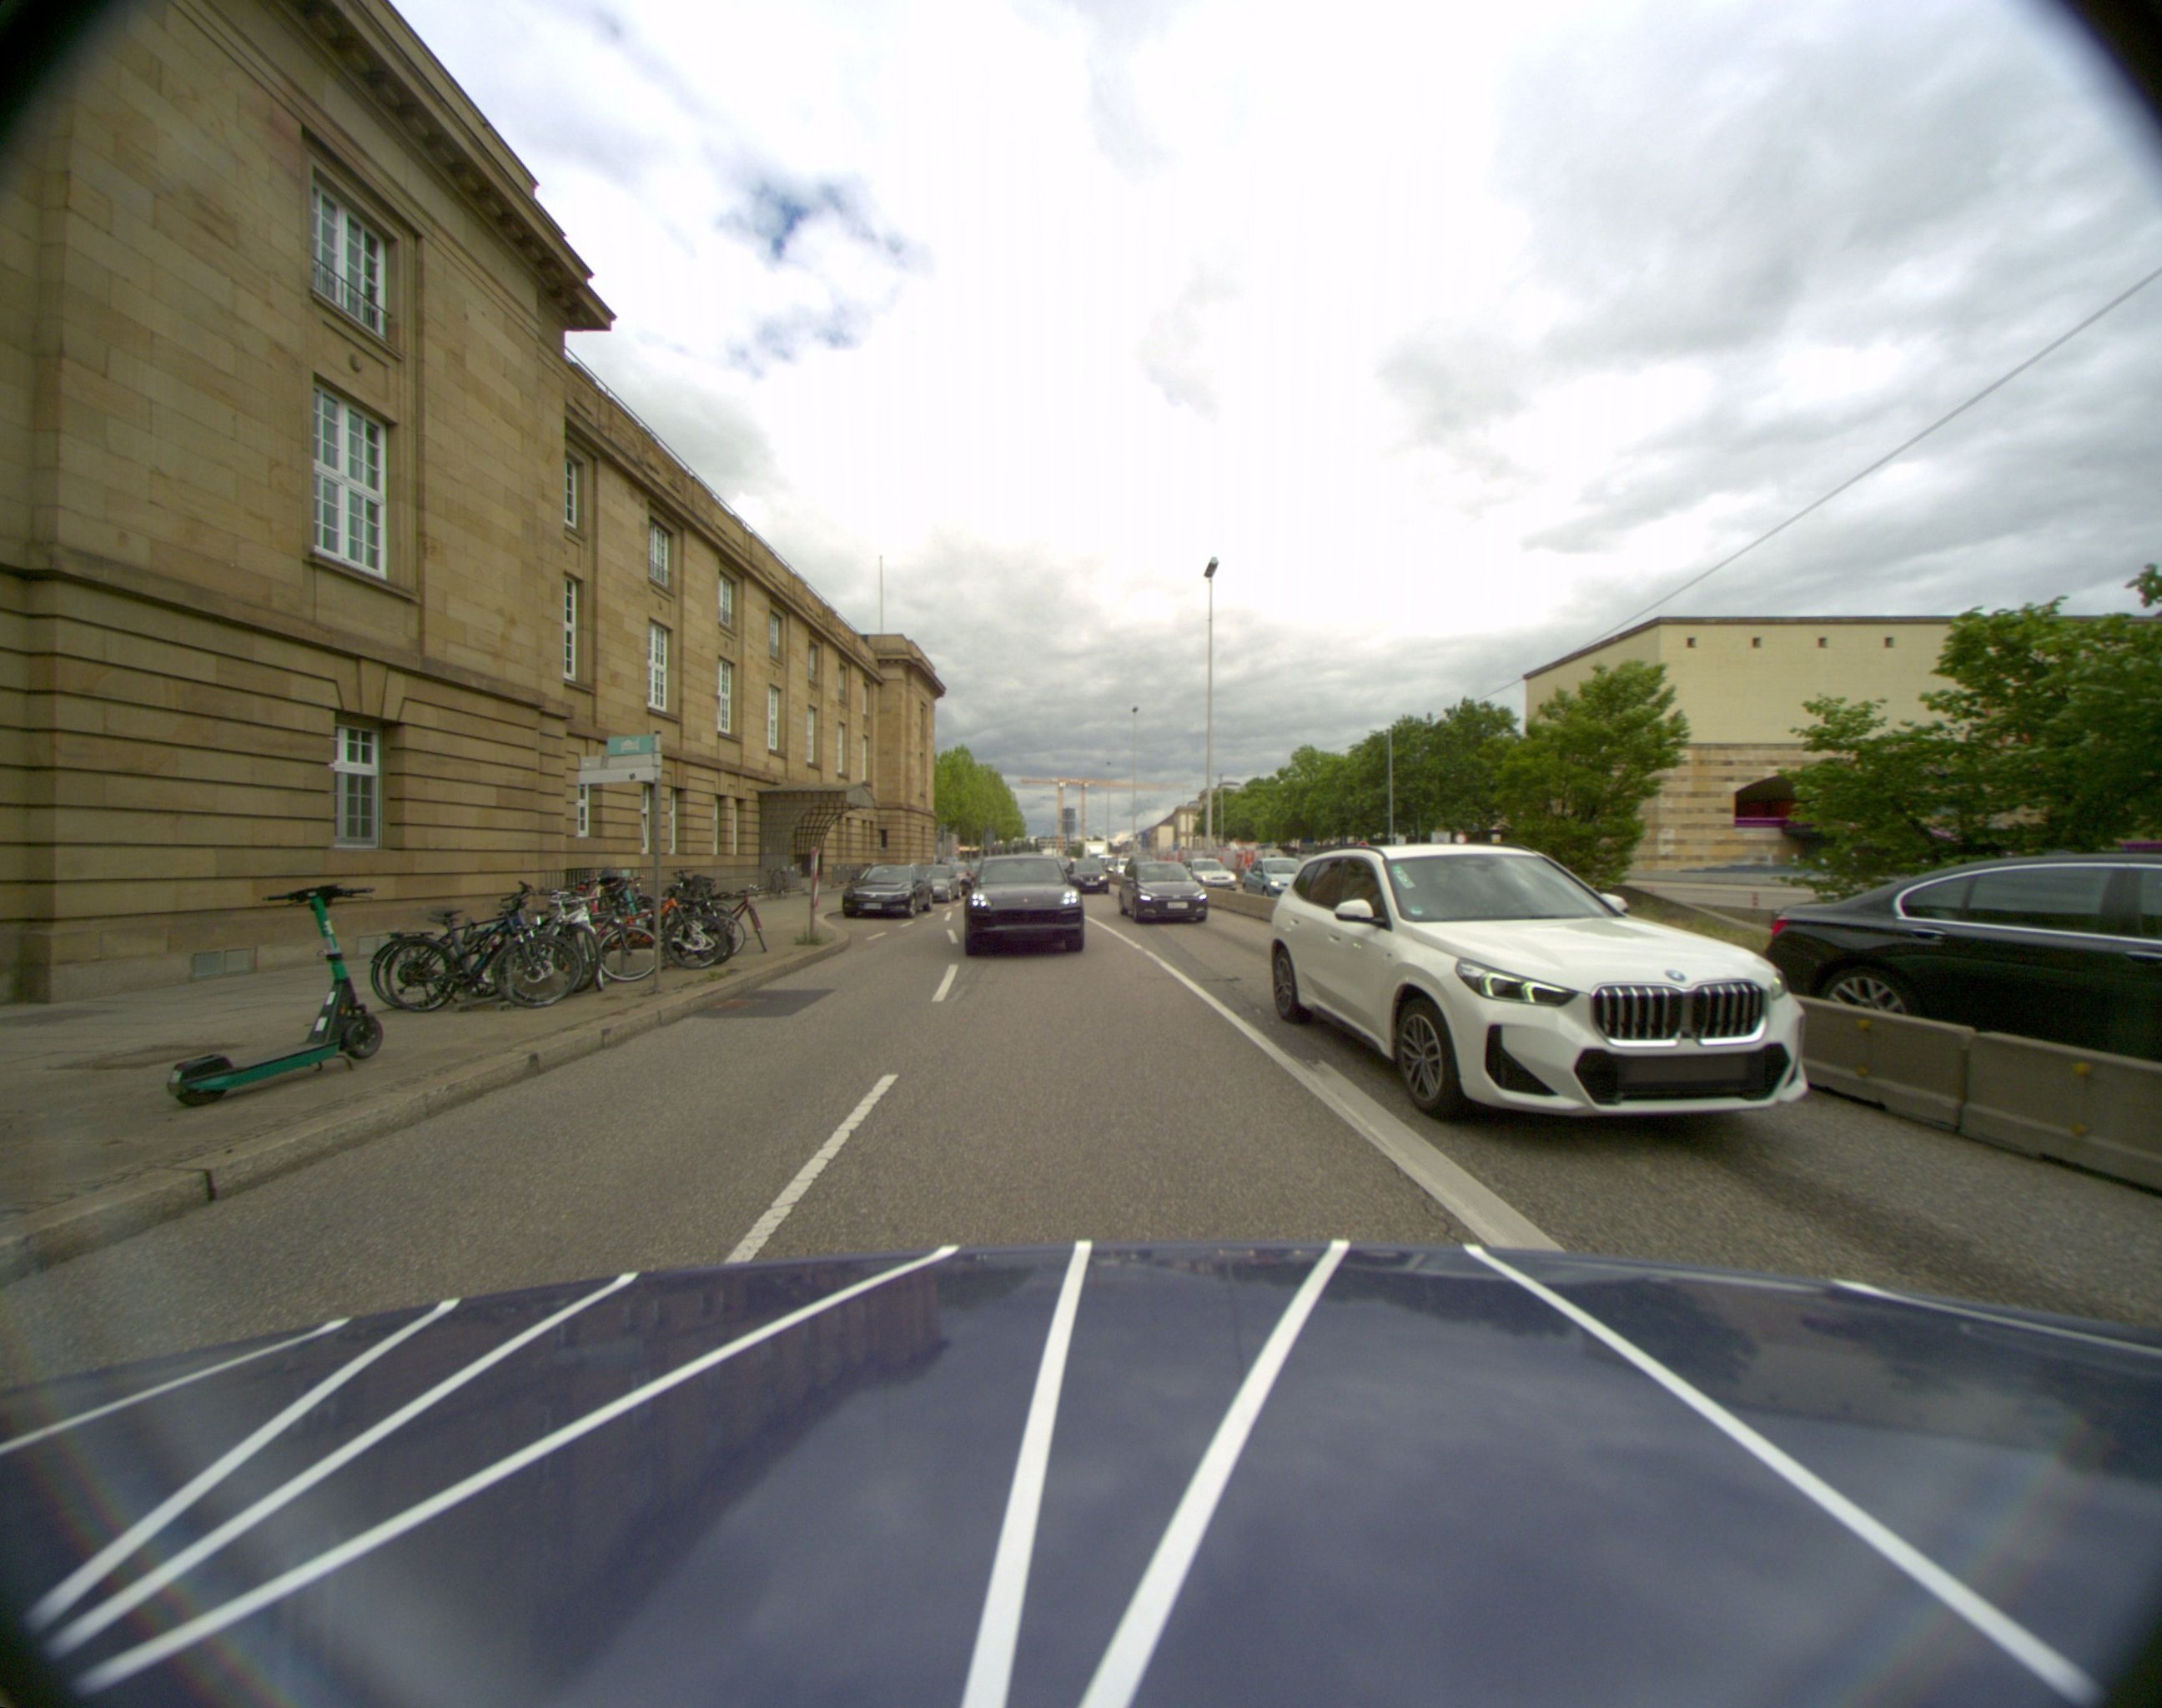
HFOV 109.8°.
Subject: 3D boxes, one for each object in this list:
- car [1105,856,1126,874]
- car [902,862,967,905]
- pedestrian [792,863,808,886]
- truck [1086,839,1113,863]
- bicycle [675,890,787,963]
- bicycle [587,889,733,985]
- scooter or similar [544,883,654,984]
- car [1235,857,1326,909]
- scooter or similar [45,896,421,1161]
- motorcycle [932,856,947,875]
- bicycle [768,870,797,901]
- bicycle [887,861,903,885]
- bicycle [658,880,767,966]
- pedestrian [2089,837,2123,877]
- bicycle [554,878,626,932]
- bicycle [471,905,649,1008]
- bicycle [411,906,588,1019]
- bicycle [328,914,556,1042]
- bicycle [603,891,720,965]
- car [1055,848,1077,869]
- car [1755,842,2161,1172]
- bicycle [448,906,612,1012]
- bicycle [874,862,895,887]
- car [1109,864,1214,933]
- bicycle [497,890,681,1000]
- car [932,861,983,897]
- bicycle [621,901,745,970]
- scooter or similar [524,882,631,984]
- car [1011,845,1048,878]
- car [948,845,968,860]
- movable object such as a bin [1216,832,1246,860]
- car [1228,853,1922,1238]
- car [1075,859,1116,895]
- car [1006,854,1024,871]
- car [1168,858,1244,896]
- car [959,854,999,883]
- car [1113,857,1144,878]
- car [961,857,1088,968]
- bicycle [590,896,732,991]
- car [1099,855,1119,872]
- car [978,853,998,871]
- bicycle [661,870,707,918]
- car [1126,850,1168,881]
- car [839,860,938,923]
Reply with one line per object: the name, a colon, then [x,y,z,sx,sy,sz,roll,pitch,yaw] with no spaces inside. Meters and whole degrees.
car: [3.071,0.937,67.748,1.634,1.546,3.001,-1,0,-2]
car: [-5.449,1.060,28.795,1.713,1.418,3.996,1,0,-1]
pedestrian: [-10.853,0.776,29.384,0.430,0.868,0.373,-2,1,2]
truck: [2.147,-0.325,89.571,2.978,2.757,7.254,0,0,0]
bicycle: [-5.542,1.124,12.029,1.664,1.068,0.586,-1,1,20]
bicycle: [-5.498,1.058,10.008,1.616,1.123,0.407,-2,0,-25]
scooter or similar: [-6.511,1.040,10.334,0.426,1.217,1.313,-2,1,11]
car: [6.343,0.882,24.591,1.677,1.498,3.852,-1,0,-4]
scooter or similar: [-5.160,0.978,4.783,0.727,1.323,1.413,-2,1,0]
motorcycle: [-9.466,0.772,50.884,0.456,1.235,1.923,1,0,4]
bicycle: [-10.327,1.070,26.344,0.222,1.023,1.859,-2,0,0]
bicycle: [-9.982,1.008,40.812,0.413,1.280,1.790,0,0,0]
bicycle: [-5.659,1.047,11.670,1.544,1.249,0.544,-1,0,19]
pedestrian: [43.146,0.128,31.984,0.526,1.685,0.697,-1,1,-11]
bicycle: [-10.339,1.044,16.070,0.241,0.992,1.962,0,0,0]
bicycle: [-5.943,1.161,8.690,1.731,1.085,0.575,-2,0,9]
bicycle: [-6.013,1.099,7.855,1.731,1.085,0.426,-2,0,13]
bicycle: [-6.119,1.156,7.293,1.860,1.085,0.666,-2,0,13]
bicycle: [-6.126,1.080,11.101,1.565,1.022,0.436,-2,0,12]
car: [-1.412,0.389,71.856,1.999,1.849,3.999,-1,0,0]
car: [6.327,0.755,3.637,1.928,1.626,4.937,-1,0,2]
bicycle: [-6.015,1.129,8.289,1.731,1.085,0.381,-2,0,13]
bicycle: [-10.036,1.043,38.929,0.557,1.210,1.915,0,0,0]
car: [1.876,1.013,18.930,1.803,1.429,4.018,-1,0,-6]
bicycle: [-5.879,1.067,9.145,1.762,1.202,0.604,-2,0,-2]
car: [-5.493,1.082,34.196,1.620,1.446,3.858,1,0,0]
bicycle: [-5.961,1.195,11.384,1.730,0.912,0.614,0,1,19]
scooter or similar: [-6.814,1.042,10.344,0.563,1.271,1.149,-1,0,7]
car: [-3.152,0.454,47.402,1.952,1.914,4.399,0,0,1]
car: [-12.503,-0.136,77.494,1.584,1.521,3.503,-1,0,-2]
movable object such as a bin: [11.870,-0.585,60.458,1.526,2.172,3.291,0,0,-4]
car: [2.708,0.835,5.822,1.857,1.618,4.904,-1,1,-4]
car: [0.603,0.982,33.405,1.612,1.464,3.621,0,0,-2]
car: [-8.021,1.011,92.774,1.999,2.002,3.999,0,0,-2]
car: [5.318,0.946,33.065,1.884,1.472,4.700,-1,0,-9]
car: [-5.589,0.779,41.965,1.549,1.543,3.709,1,0,2]
car: [3.230,0.904,52.237,1.731,1.288,3.934,-1,1,-2]
car: [-0.964,0.897,13.640,1.908,1.648,4.199,0,0,-3]
bicycle: [-5.610,1.171,10.246,1.616,1.123,0.469,-2,0,-25]
car: [2.914,0.979,79.387,1.843,1.751,4.479,0,0,-2]
car: [-9.337,0.814,76.788,1.810,1.728,4.484,-1,-1,-5]
bicycle: [-10.377,1.023,19.914,0.276,1.176,1.538,-1,1,3]
car: [3.723,0.626,43.542,1.781,1.611,4.044,-1,1,-4]
car: [-5.354,0.994,21.706,1.793,1.477,4.324,-2,1,-2]
